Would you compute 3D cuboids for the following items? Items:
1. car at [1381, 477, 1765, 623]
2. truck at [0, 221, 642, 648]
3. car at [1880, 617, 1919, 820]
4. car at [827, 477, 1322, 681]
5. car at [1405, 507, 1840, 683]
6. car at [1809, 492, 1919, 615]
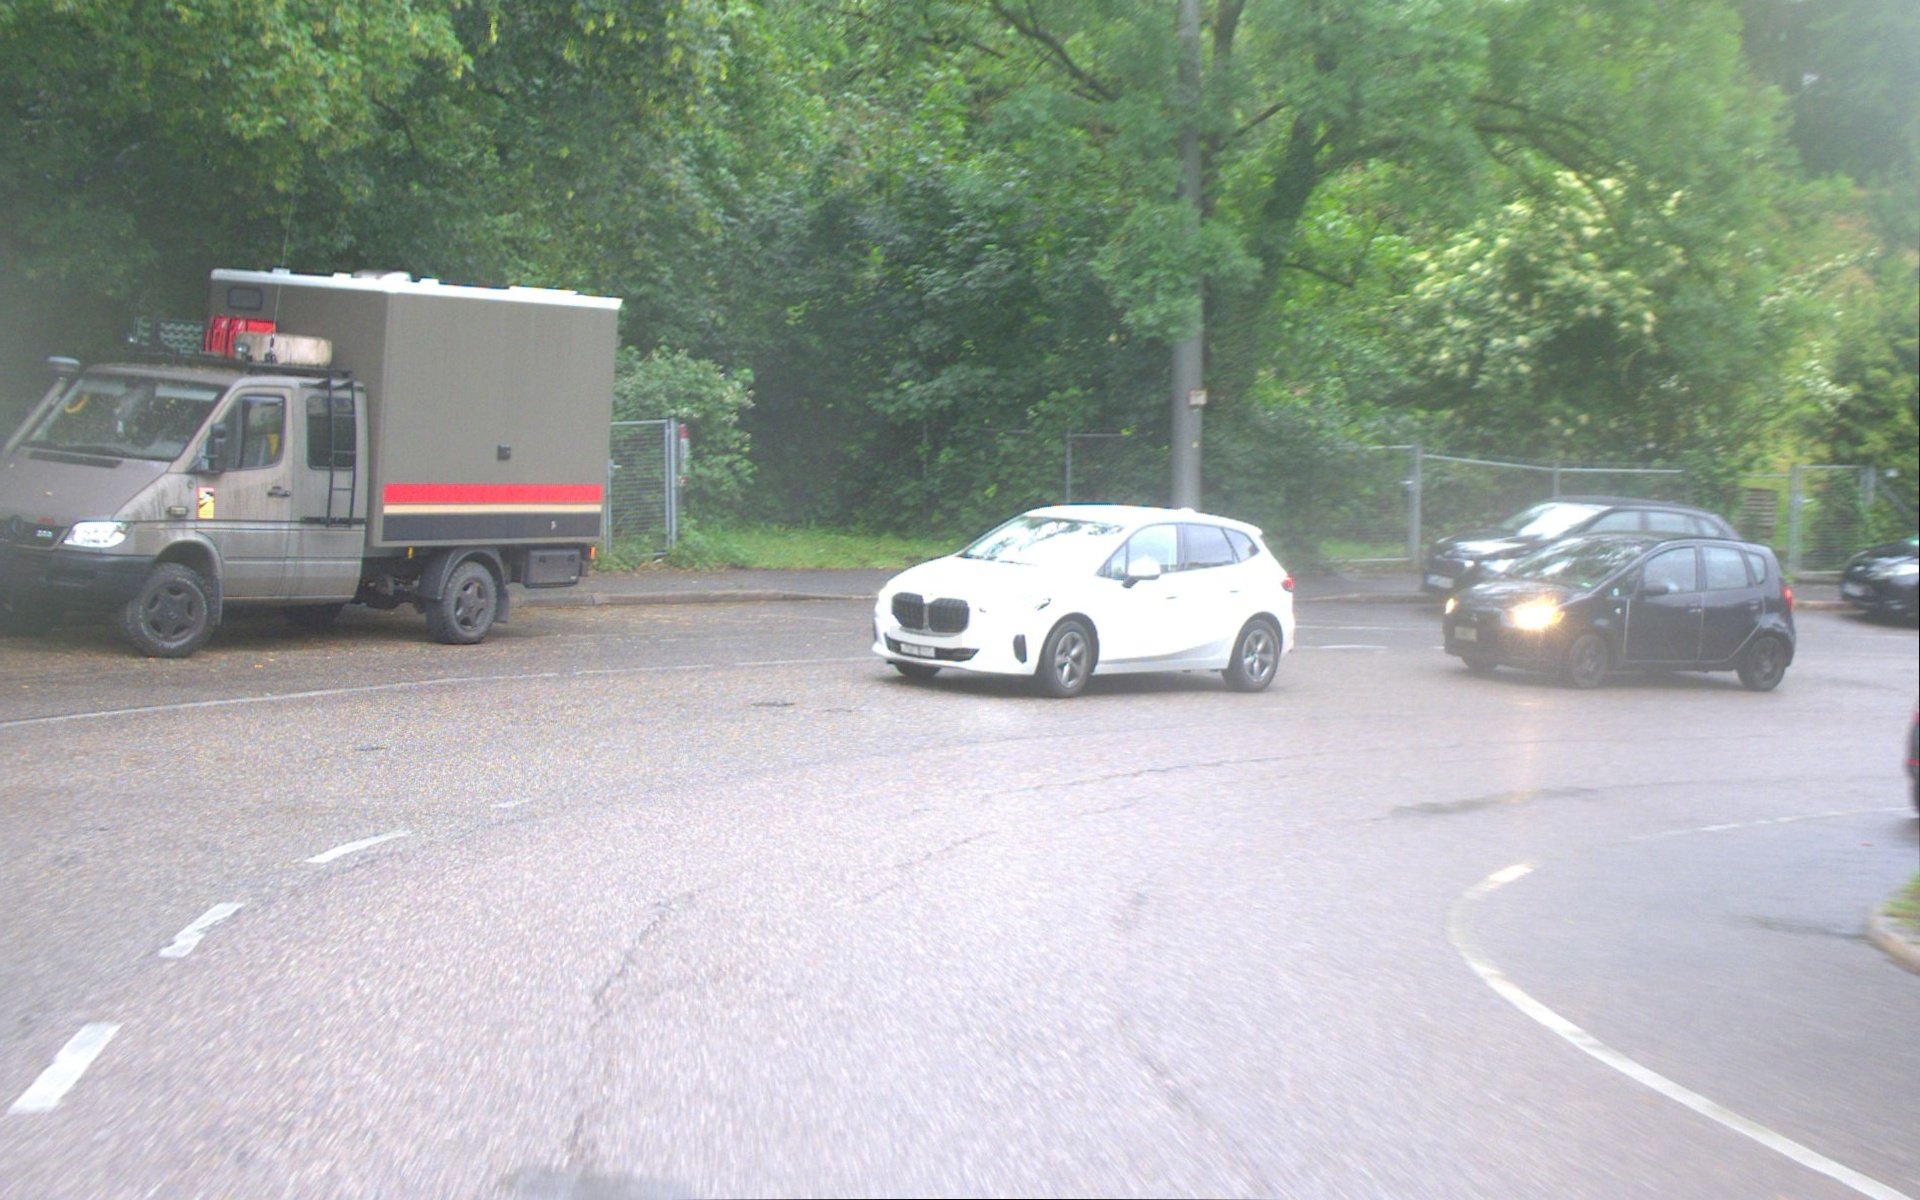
[{"bbox_3d":[7.502,-0.606,42.012,4.298,1.460,1.785,1,7,-27],"label":"car"},{"bbox_3d":[-5.486,-1.323,28.669,2.037,3.092,6.602,6,4,29],"label":"truck"},{"bbox_3d":[8.885,0.997,26.304,1.654,1.459,4.022,10,6,44],"label":"car"},{"bbox_3d":[1.075,-0.170,30.104,1.803,1.564,4.445,6,3,42],"label":"car"},{"bbox_3d":[6.764,-0.043,35.053,4.072,1.513,1.766,2,4,-29],"label":"car"},{"bbox_3d":[13.432,-0.511,44.474,4.297,1.351,1.760,3,7,-12],"label":"car"}]
